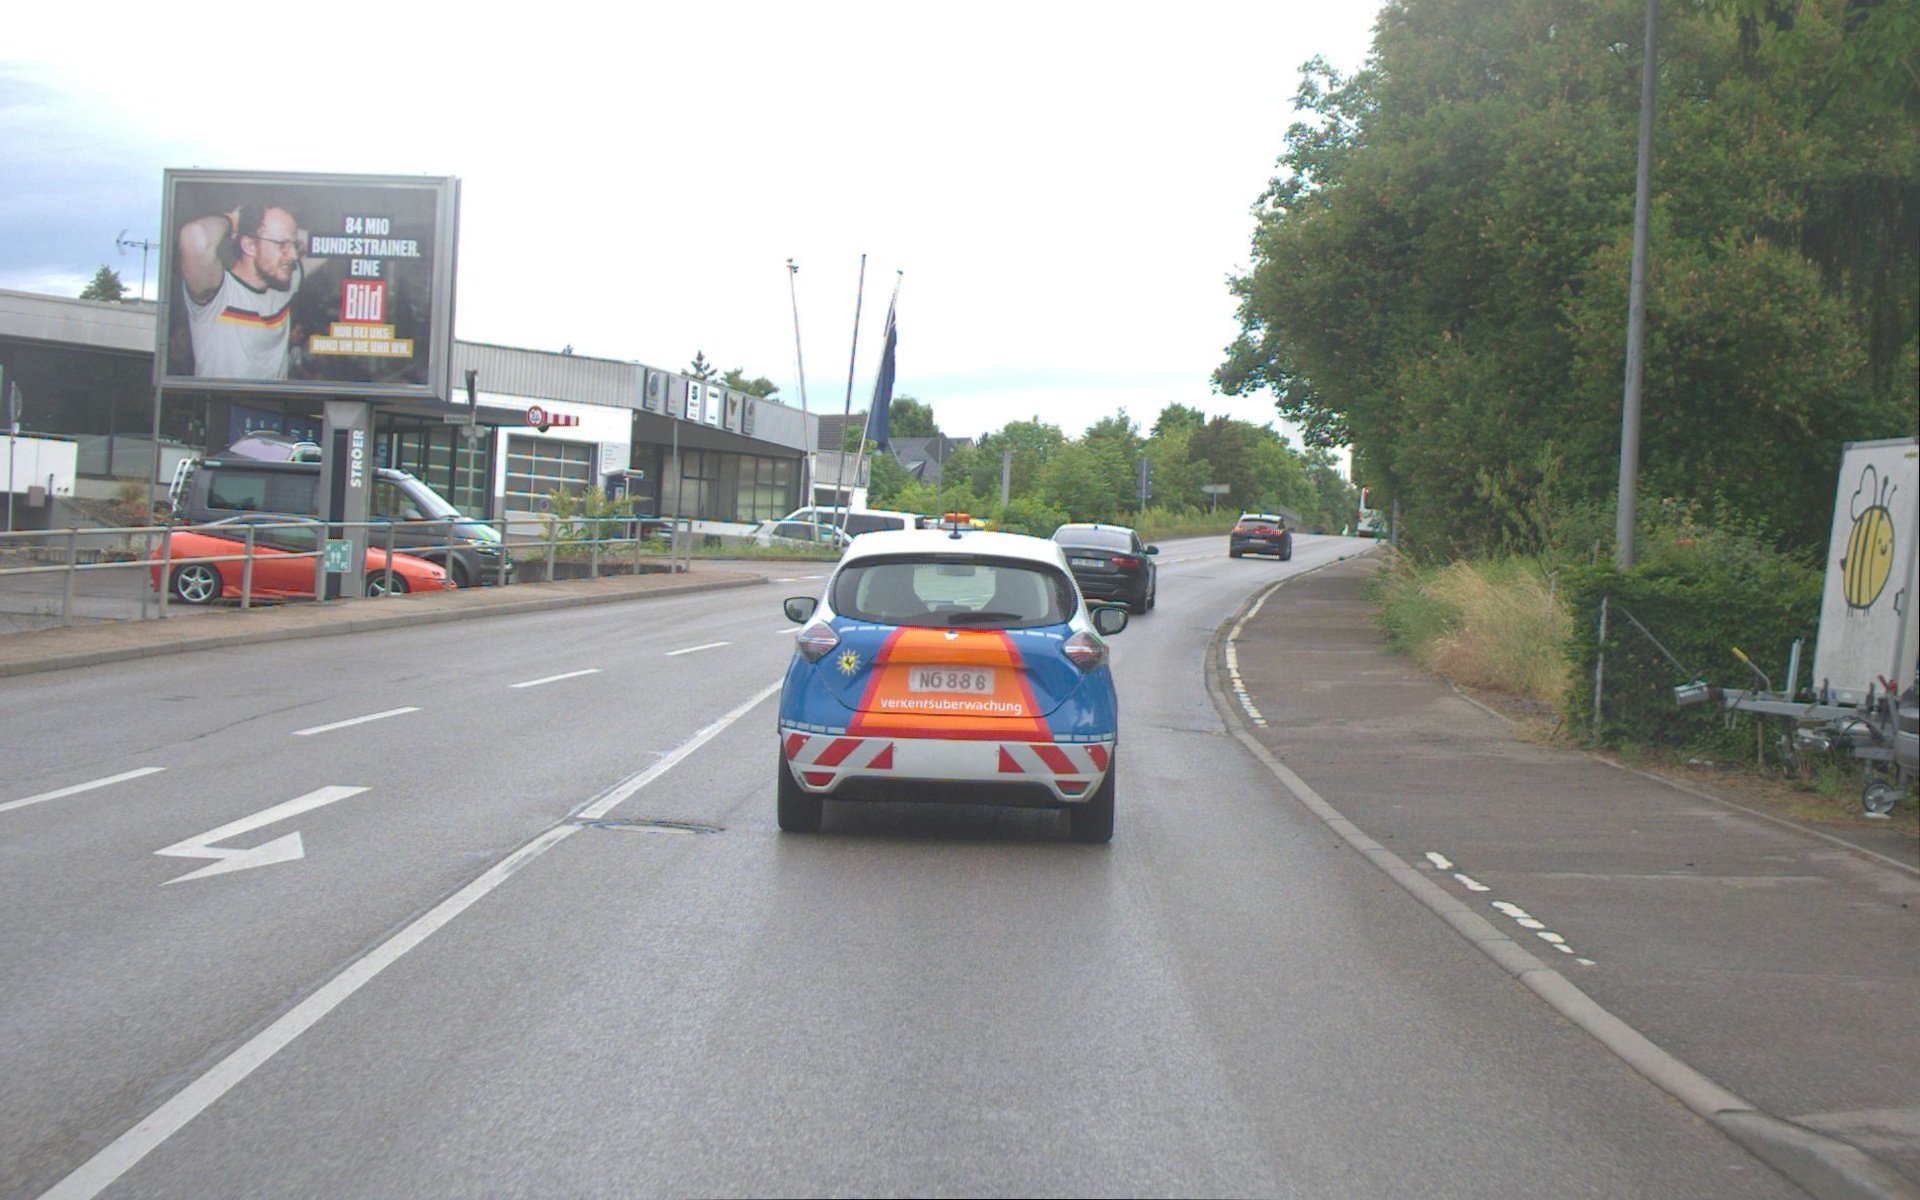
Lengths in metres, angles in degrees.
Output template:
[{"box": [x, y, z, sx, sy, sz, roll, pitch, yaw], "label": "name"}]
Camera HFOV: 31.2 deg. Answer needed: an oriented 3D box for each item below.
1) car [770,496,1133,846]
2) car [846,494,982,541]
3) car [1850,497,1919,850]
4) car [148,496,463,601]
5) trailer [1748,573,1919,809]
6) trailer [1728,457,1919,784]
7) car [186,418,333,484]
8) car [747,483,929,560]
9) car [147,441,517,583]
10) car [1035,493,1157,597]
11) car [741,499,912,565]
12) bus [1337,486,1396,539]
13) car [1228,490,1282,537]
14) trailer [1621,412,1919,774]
[{"box": [-0.060, 0.317, 18.391, 1.657, 1.587, 3.568, 4, 1, -1], "label": "car"}, {"box": [-1.419, -2.594, 107.899, 4.063, 1.286, 1.804, 3, 2, 5], "label": "car"}, {"box": [6.943, 0.465, 17.552, 4.213, 1.743, 1.984, 3, 2, 2], "label": "car"}, {"box": [-9.035, -0.723, 47.718, 4.091, 1.263, 1.770, 2, 1, -4], "label": "car"}, {"box": [7.141, 0.620, 20.640, 4.397, 1.283, 1.572, 3, 2, 0], "label": "trailer"}, {"box": [7.288, 0.227, 22.607, 3.952, 2.015, 1.687, 4, 1, 0], "label": "trailer"}, {"box": [-17.338, -3.684, 85.306, 1.819, 1.473, 4.019, 3, 2, 17], "label": "car"}, {"box": [-3.152, -2.053, 89.399, 4.413, 1.791, 1.934, 3, 2, 7], "label": "car"}, {"box": [-9.223, -1.298, 50.749, 5.067, 1.864, 1.823, 2, 1, 0], "label": "car"}, {"box": [2.245, -0.902, 55.993, 1.802, 1.584, 3.562, 2, 1, 4], "label": "car"}, {"box": [-3.346, -1.734, 86.674, 4.010, 1.473, 1.823, 3, 2, 7], "label": "car"}, {"box": [25.730, -5.478, 218.010, 2.911, 3.158, 11.466, 2, 1, 3], "label": "bus"}, {"box": [9.347, -2.726, 108.805, 1.614, 1.402, 3.497, 2, 1, 6], "label": "car"}, {"box": [7.327, 0.022, 24.716, 4.533, 2.392, 1.950, 4, 1, -7], "label": "trailer"}]
